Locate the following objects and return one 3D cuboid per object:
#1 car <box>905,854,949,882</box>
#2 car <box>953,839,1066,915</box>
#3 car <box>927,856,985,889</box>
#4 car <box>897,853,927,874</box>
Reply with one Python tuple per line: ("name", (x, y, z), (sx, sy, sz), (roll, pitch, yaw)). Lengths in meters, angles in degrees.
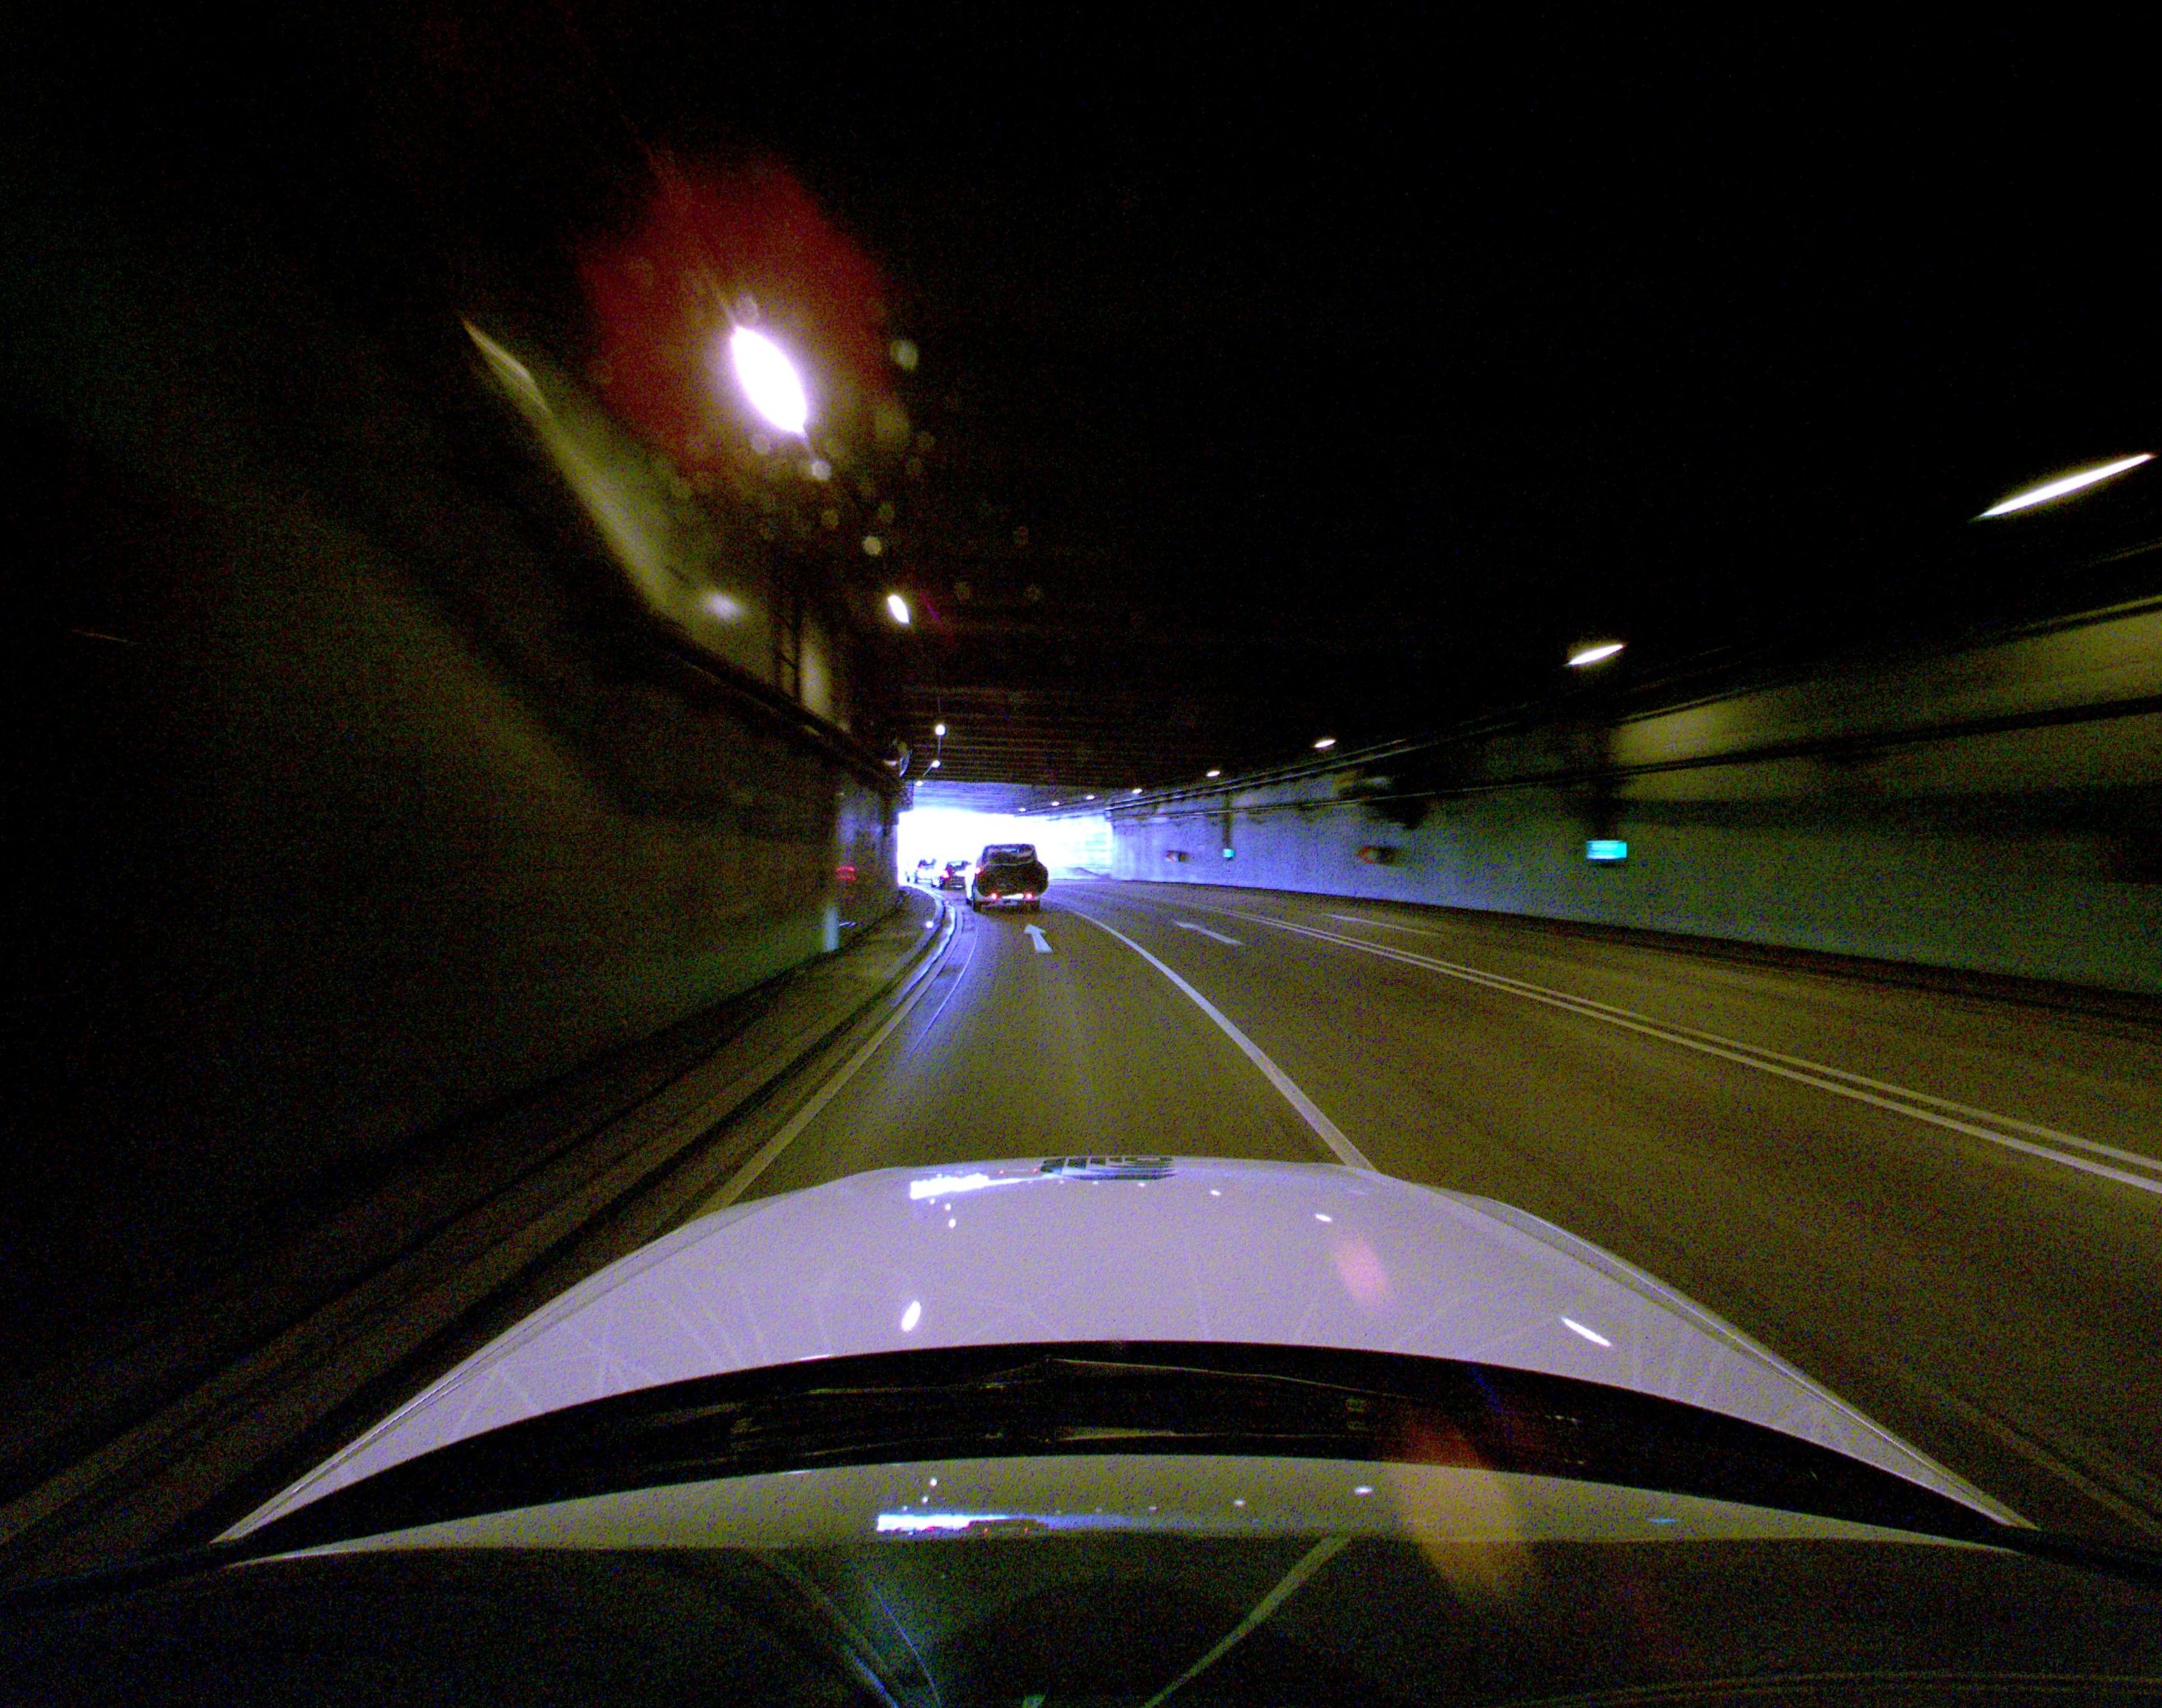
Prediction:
("car", (-8.988, 0.798, 47.245), (1.927, 1.489, 4.039), (1, 0, -19))
("car", (-2.218, 0.574, 23.395), (1.998, 1.859, 5.606), (-2, 0, -18))
("car", (-5.851, 0.817, 37.706), (1.822, 1.434, 4.036), (0, 0, -21))
("car", (-14.217, 0.759, 68.473), (1.999, 1.664, 3.975), (1, 0, -19))
